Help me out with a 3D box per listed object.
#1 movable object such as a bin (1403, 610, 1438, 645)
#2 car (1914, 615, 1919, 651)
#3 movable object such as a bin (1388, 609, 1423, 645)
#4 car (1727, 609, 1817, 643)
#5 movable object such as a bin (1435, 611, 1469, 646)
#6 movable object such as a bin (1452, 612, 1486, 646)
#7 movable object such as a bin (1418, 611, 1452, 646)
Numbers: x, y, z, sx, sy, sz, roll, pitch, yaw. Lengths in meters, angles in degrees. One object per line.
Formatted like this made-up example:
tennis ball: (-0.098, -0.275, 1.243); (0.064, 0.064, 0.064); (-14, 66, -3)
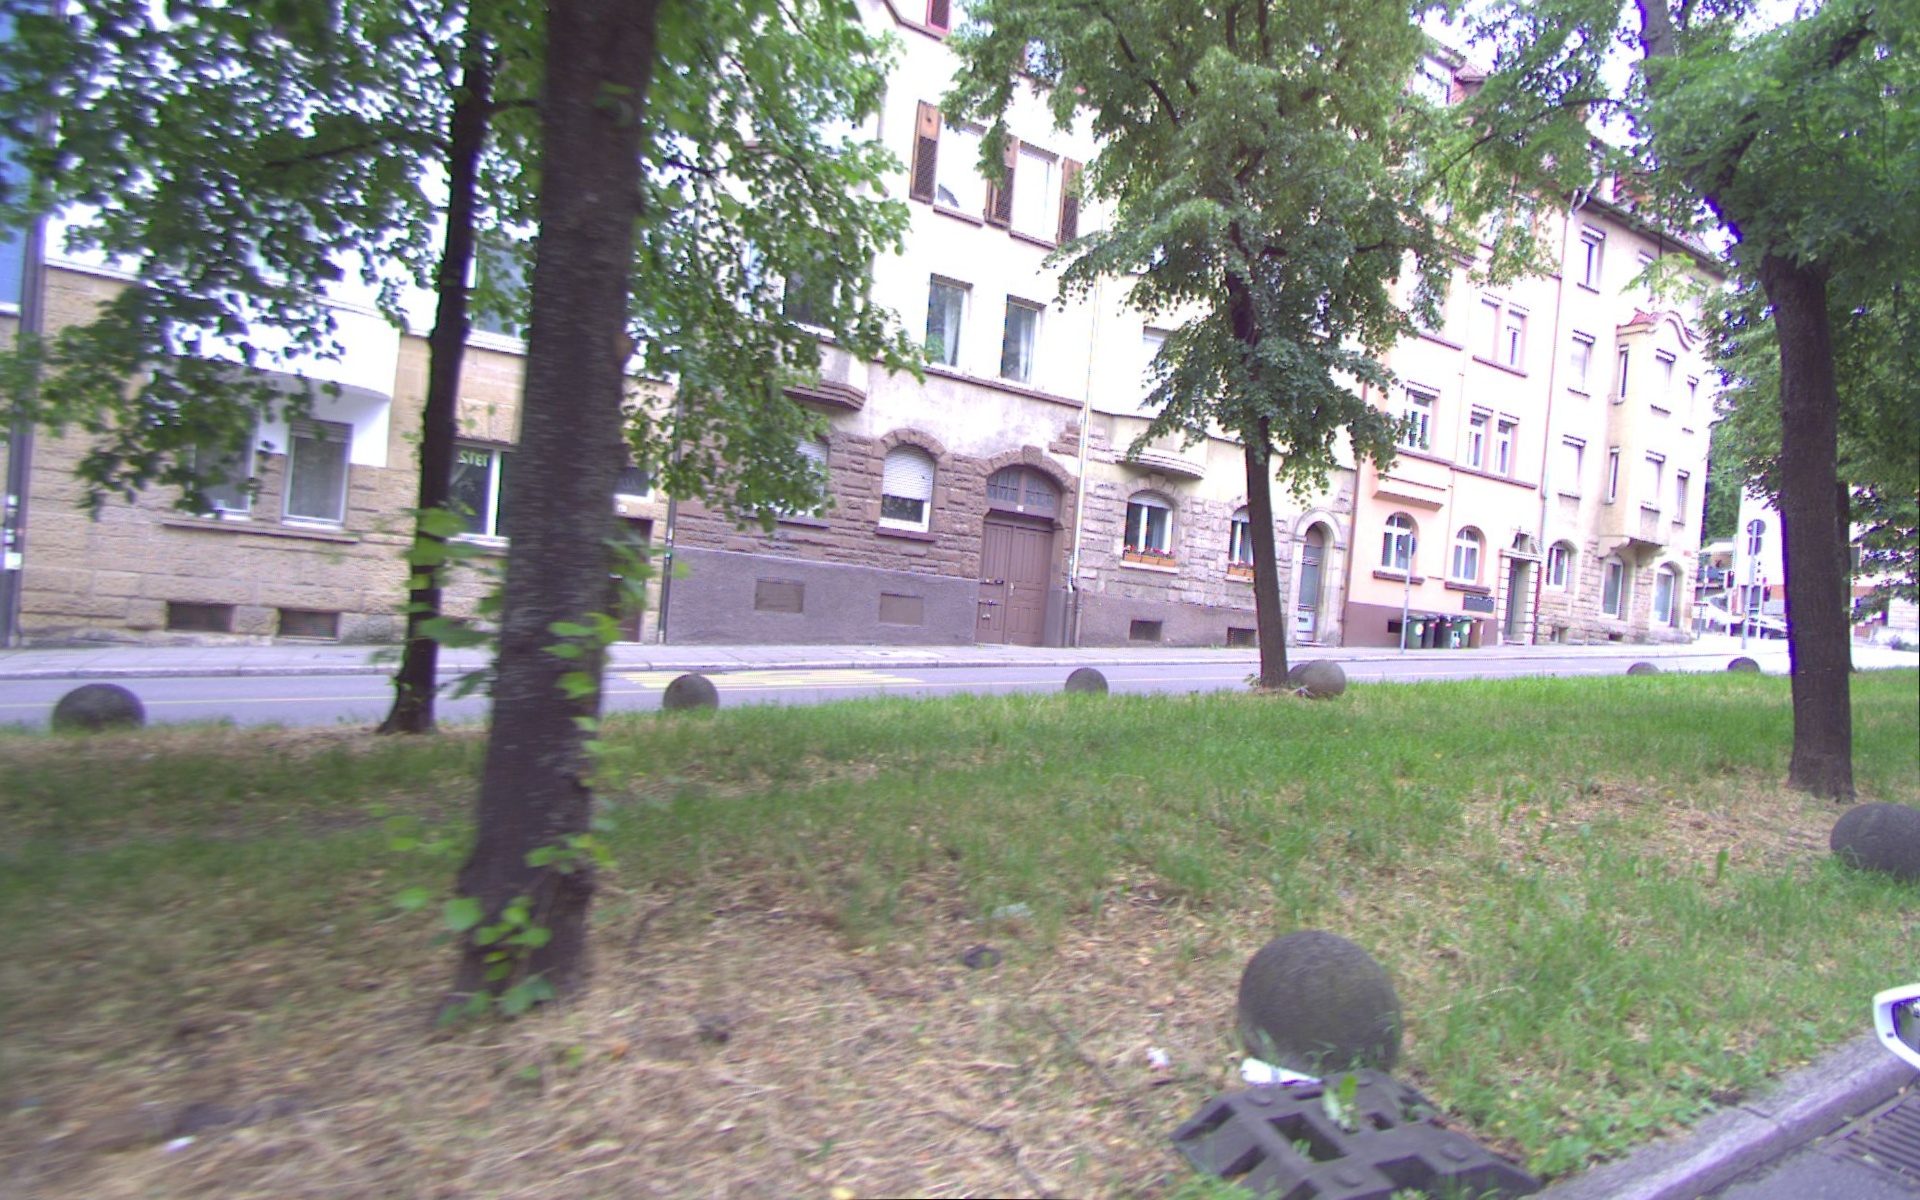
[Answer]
movable object such as a bin: (12.598, 0.751, 27.473); (0.595, 0.916, 0.605); (1, 3, -34)
car: (43.661, 1.553, 42.713); (1.782, 1.530, 4.177); (1, 2, -35)
movable object such as a bin: (12.049, 0.729, 27.167); (0.595, 0.916, 0.605); (1, 3, -34)
car: (45.213, 1.432, 56.051); (1.845, 1.687, 4.001); (4, 0, 4)
movable object such as a bin: (13.856, 0.804, 28.280); (0.595, 0.916, 0.605); (1, 3, -34)
movable object such as a bin: (14.499, 0.822, 28.600); (0.595, 0.916, 0.605); (1, 3, -34)
movable object such as a bin: (13.157, 0.776, 27.823); (0.595, 0.916, 0.605); (1, 3, -34)
